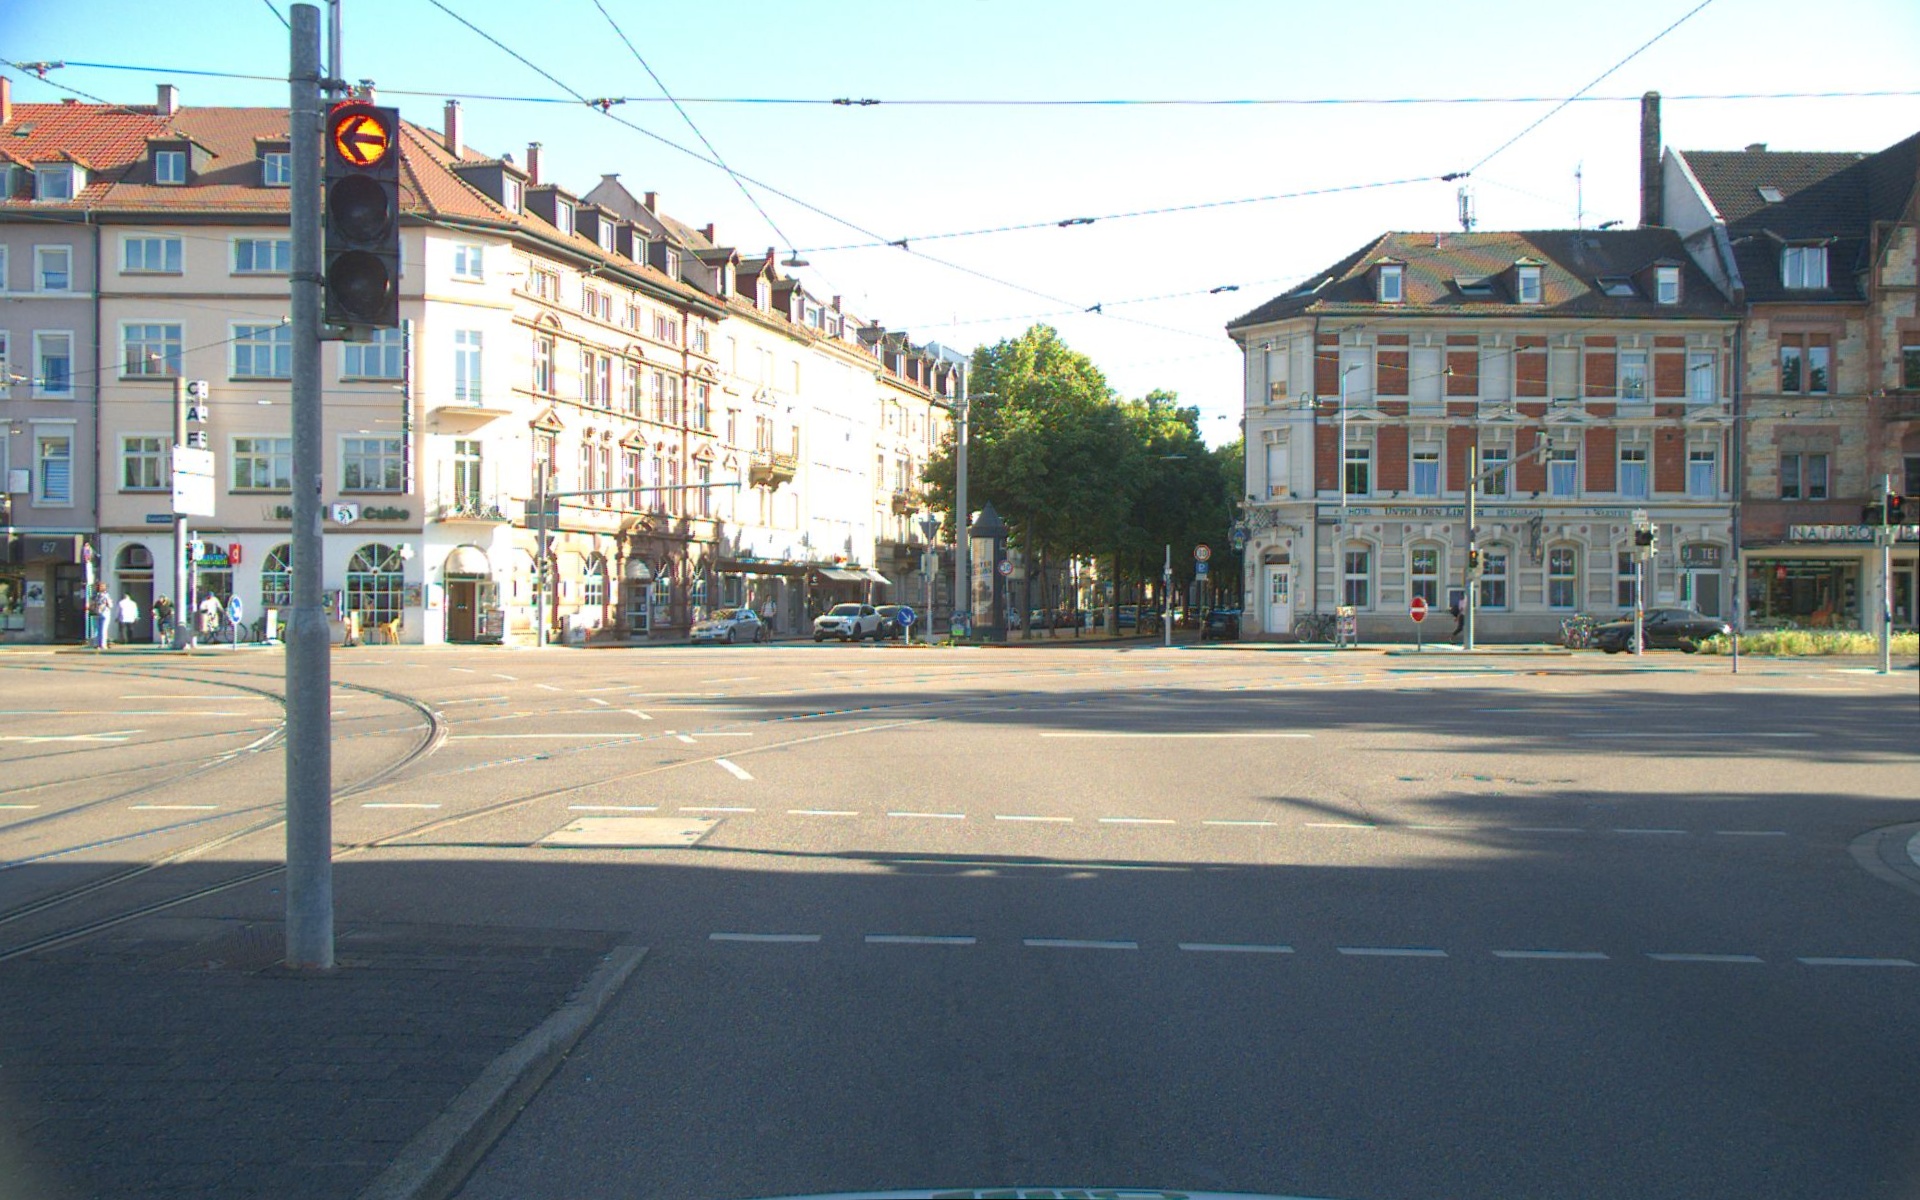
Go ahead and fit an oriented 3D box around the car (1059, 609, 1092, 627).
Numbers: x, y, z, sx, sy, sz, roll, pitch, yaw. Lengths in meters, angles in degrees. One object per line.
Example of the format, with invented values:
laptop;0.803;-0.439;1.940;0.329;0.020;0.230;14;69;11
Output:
car;9.568;1.480;136.723;1.951;1.429;4.172;0;0;15

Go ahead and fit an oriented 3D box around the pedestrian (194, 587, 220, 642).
pedestrian;-23.635;0.455;51.913;0.731;1.711;0.623;0;0;-26

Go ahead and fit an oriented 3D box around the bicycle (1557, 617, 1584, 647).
bicycle;19.800;1.016;53.650;0.476;0.930;1.785;0;0;9

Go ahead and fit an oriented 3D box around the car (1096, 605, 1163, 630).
car;10.246;1.039;99.821;3.902;1.480;1.683;0;0;10

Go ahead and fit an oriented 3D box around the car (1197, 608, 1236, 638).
car;12.850;1.142;82.703;1.717;1.445;4.003;0;0;12

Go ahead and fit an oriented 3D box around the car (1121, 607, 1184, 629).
car;12.313;1.141;105.559;3.902;1.311;1.696;0;0;10

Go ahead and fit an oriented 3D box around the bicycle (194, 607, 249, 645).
bicycle;-25.244;0.885;56.553;1.684;1.299;0.385;0;0;-18

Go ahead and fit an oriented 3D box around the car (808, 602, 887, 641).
car;-4.534;0.847;67.384;1.951;1.542;4.172;0;0;15

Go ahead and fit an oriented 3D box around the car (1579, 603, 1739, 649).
car;20.415;0.741;48.398;3.977;1.323;1.722;0;0;-1

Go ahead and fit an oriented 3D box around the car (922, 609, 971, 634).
car;-0.822;1.317;102.053;1.951;1.429;4.172;0;0;15

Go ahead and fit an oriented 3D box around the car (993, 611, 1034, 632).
car;3.813;1.484;116.891;1.951;1.429;4.172;0;0;15

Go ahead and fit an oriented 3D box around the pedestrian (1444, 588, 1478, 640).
pedestrian;17.260;0.484;56.957;1.013;1.741;0.630;1;-1;8

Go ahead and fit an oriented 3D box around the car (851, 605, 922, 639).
car;-3.230;0.952;73.576;1.951;1.429;4.172;0;0;15

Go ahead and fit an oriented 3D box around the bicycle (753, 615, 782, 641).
bicycle;-7.560;1.097;65.164;0.641;1.018;1.666;1;0;11

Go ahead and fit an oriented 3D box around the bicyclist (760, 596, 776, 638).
bicyclist;-7.551;0.652;65.064;0.479;1.629;0.667;0;0;9

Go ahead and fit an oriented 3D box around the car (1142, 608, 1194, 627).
car;14.042;1.151;111.658;3.360;1.261;1.578;0;0;10

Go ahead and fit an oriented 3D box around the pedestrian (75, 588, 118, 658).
pedestrian;-21.490;0.570;41.166;0.725;1.711;0.628;0;0;-1

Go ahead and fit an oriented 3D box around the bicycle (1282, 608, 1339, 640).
bicycle;12.172;0.829;57.511;1.911;1.072;0.716;0;0;9

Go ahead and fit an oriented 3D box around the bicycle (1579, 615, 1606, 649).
bicycle;20.470;1.023;53.573;0.476;1.038;1.785;0;0;9

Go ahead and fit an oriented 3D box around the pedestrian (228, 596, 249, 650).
pedestrian;-17.200;0.543;39.429;0.358;1.275;0.449;0;0;-12

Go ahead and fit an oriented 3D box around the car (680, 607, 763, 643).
car;-9.603;0.984;66.878;1.951;1.385;3.821;0;0;15

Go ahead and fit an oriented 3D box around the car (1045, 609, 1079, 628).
car;8.138;1.433;131.505;1.951;1.429;4.172;0;0;15

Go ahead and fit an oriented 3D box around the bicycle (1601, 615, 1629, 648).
bicycle;21.159;1.002;53.481;0.476;1.038;1.785;0;0;9

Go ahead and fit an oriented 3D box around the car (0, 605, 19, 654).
car;-32.131;0.900;52.317;3.651;1.517;1.818;1;0;2

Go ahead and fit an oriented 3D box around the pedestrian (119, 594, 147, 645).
pedestrian;-28.084;0.669;56.174;0.727;1.711;0.626;0;0;-12

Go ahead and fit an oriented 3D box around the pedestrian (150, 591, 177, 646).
pedestrian;-24.956;0.582;51.831;0.731;1.711;0.623;0;0;-26

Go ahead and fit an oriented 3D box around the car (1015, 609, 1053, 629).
car;5.471;1.378;122.637;1.951;1.429;4.172;0;0;15
